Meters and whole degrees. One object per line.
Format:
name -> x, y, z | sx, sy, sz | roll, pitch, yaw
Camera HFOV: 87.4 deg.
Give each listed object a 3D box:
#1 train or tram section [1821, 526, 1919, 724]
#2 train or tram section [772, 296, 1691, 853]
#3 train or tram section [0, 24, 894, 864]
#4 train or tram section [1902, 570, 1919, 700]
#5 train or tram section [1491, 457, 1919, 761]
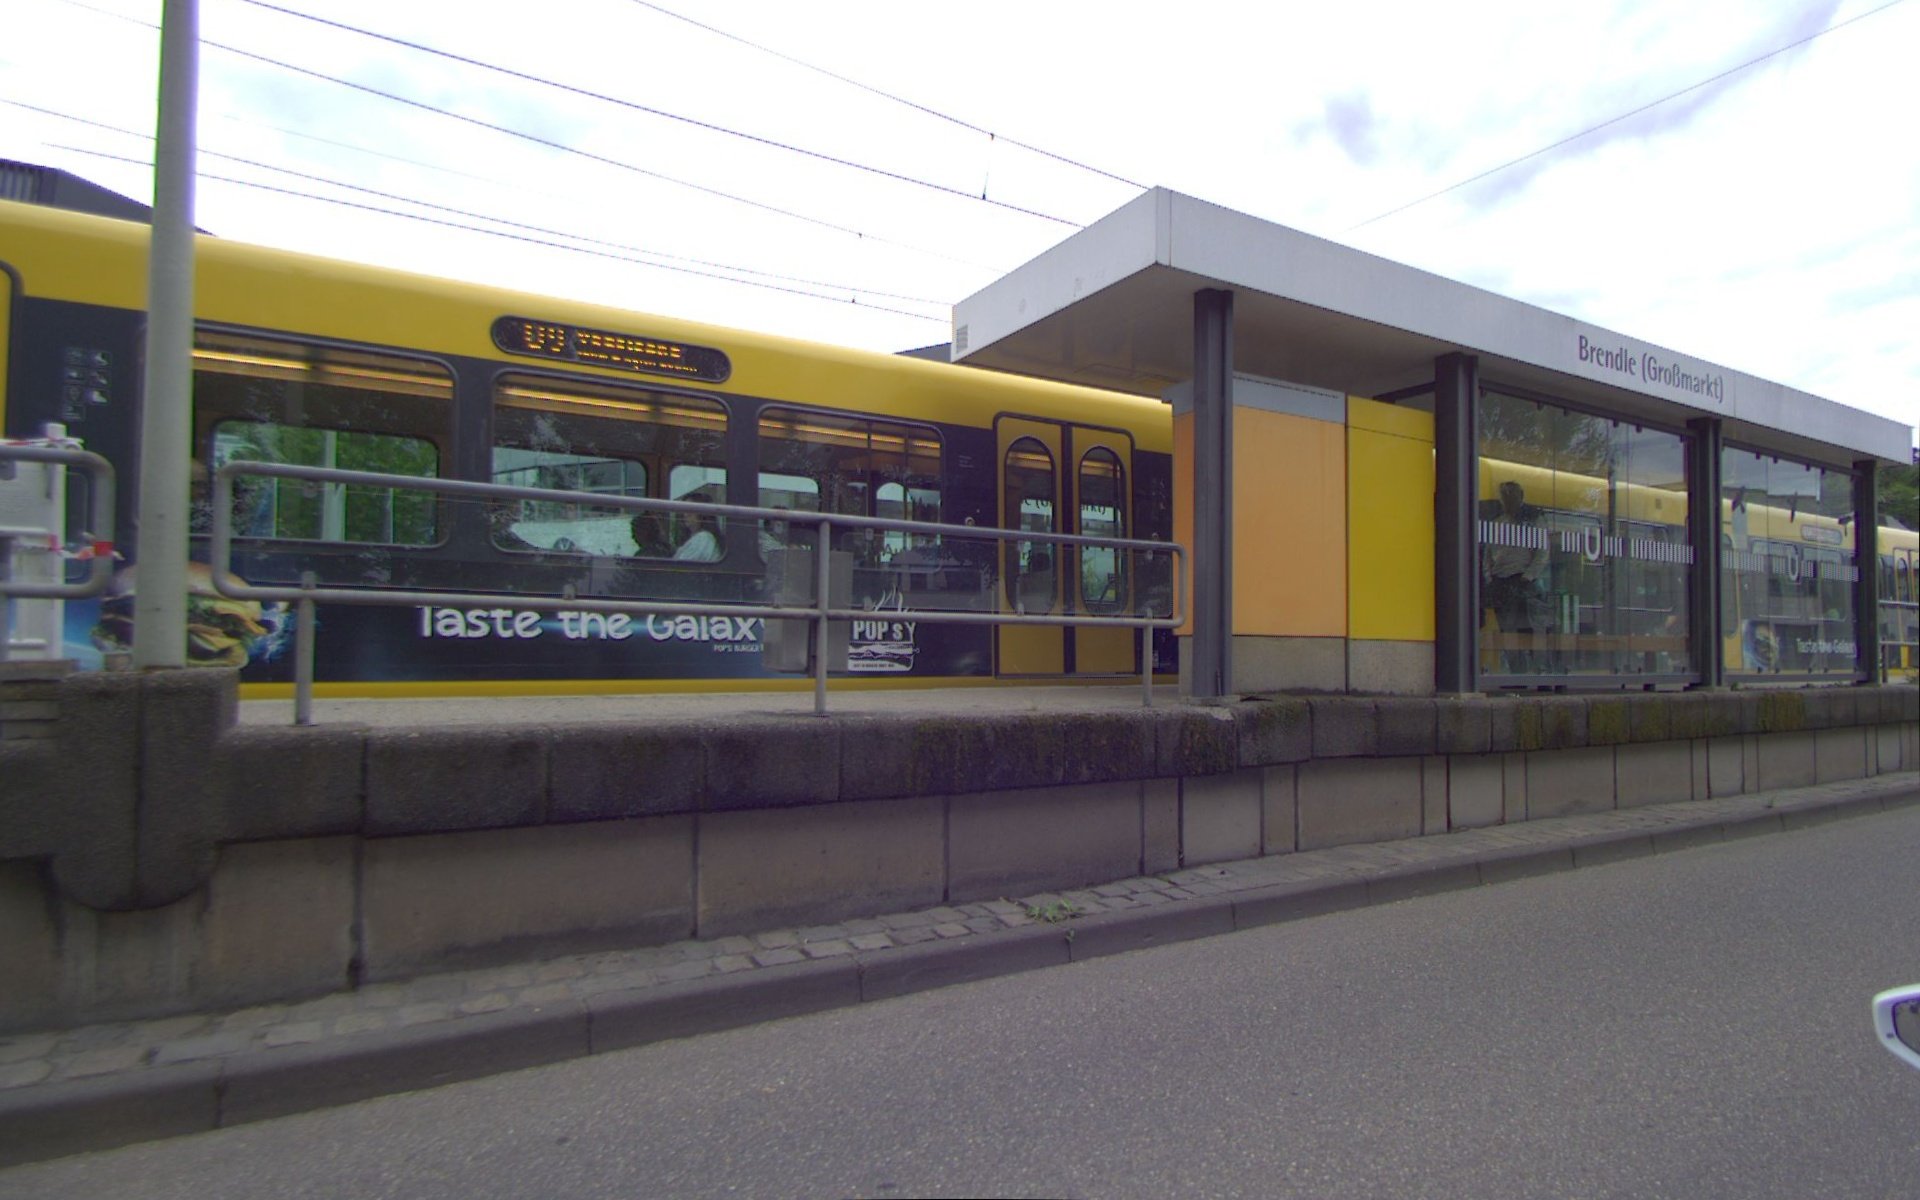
train or tram section -> 24.179, 0.603, 23.557 | 10.078, 4.118, 2.957 | 1, -2, -31
train or tram section -> 3.929, -0.052, 11.467 | 11.774, 4.018, 2.727 | 1, -2, -31
train or tram section -> -6.197, -0.730, 5.407 | 11.774, 4.018, 2.727 | 1, -2, -31
train or tram section -> 32.682, 1.166, 31.559 | 9.072, 3.845, 1.984 | 2, -3, -30
train or tram section -> 14.028, 0.263, 17.506 | 11.774, 4.018, 2.727 | 1, -2, -31
